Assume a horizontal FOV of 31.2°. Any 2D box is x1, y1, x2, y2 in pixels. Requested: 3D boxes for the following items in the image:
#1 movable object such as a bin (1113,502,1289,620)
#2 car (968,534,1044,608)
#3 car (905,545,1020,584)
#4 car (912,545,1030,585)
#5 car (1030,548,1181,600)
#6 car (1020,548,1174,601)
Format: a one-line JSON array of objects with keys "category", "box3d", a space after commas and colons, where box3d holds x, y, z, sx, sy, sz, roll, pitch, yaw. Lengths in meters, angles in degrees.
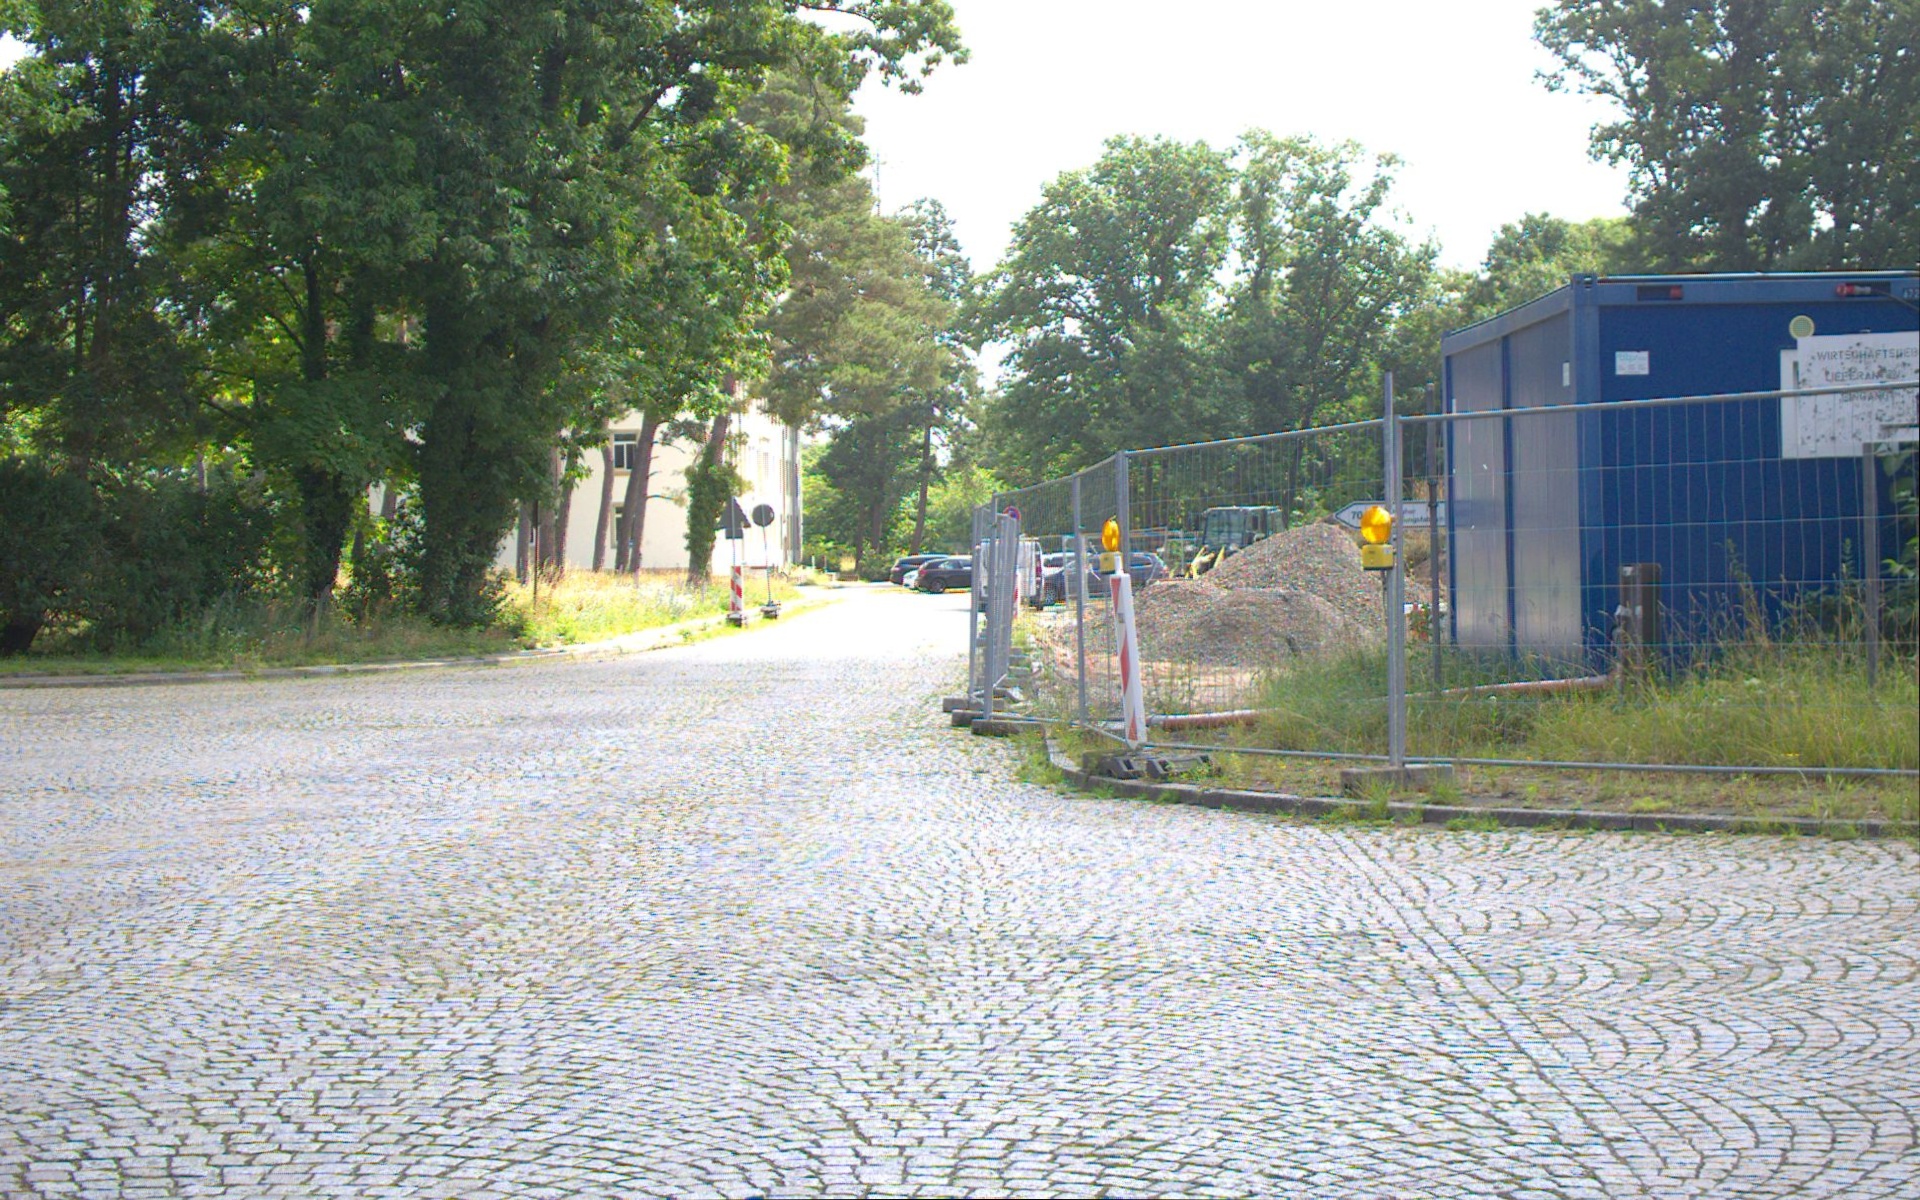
[{"category": "movable object such as a bin", "box3d": [5.540, -0.899, 78.388, 2.132, 2.584, 4.783, 0, 1, 30]}, {"category": "car", "box3d": [1.267, -0.824, 95.590, 1.993, 2.007, 4.091, 0, 1, -1]}, {"category": "car", "box3d": [0.084, -1.527, 147.203, 4.779, 1.635, 2.000, 0, 1, -5]}, {"category": "car", "box3d": [0.461, -1.480, 144.091, 4.779, 1.635, 2.000, 0, 1, -5]}, {"category": "car", "box3d": [4.463, -0.806, 105.240, 4.404, 1.505, 1.999, 1, 1, 9]}, {"category": "car", "box3d": [4.098, -0.773, 102.474, 4.404, 1.505, 1.999, 1, 1, 9]}]
